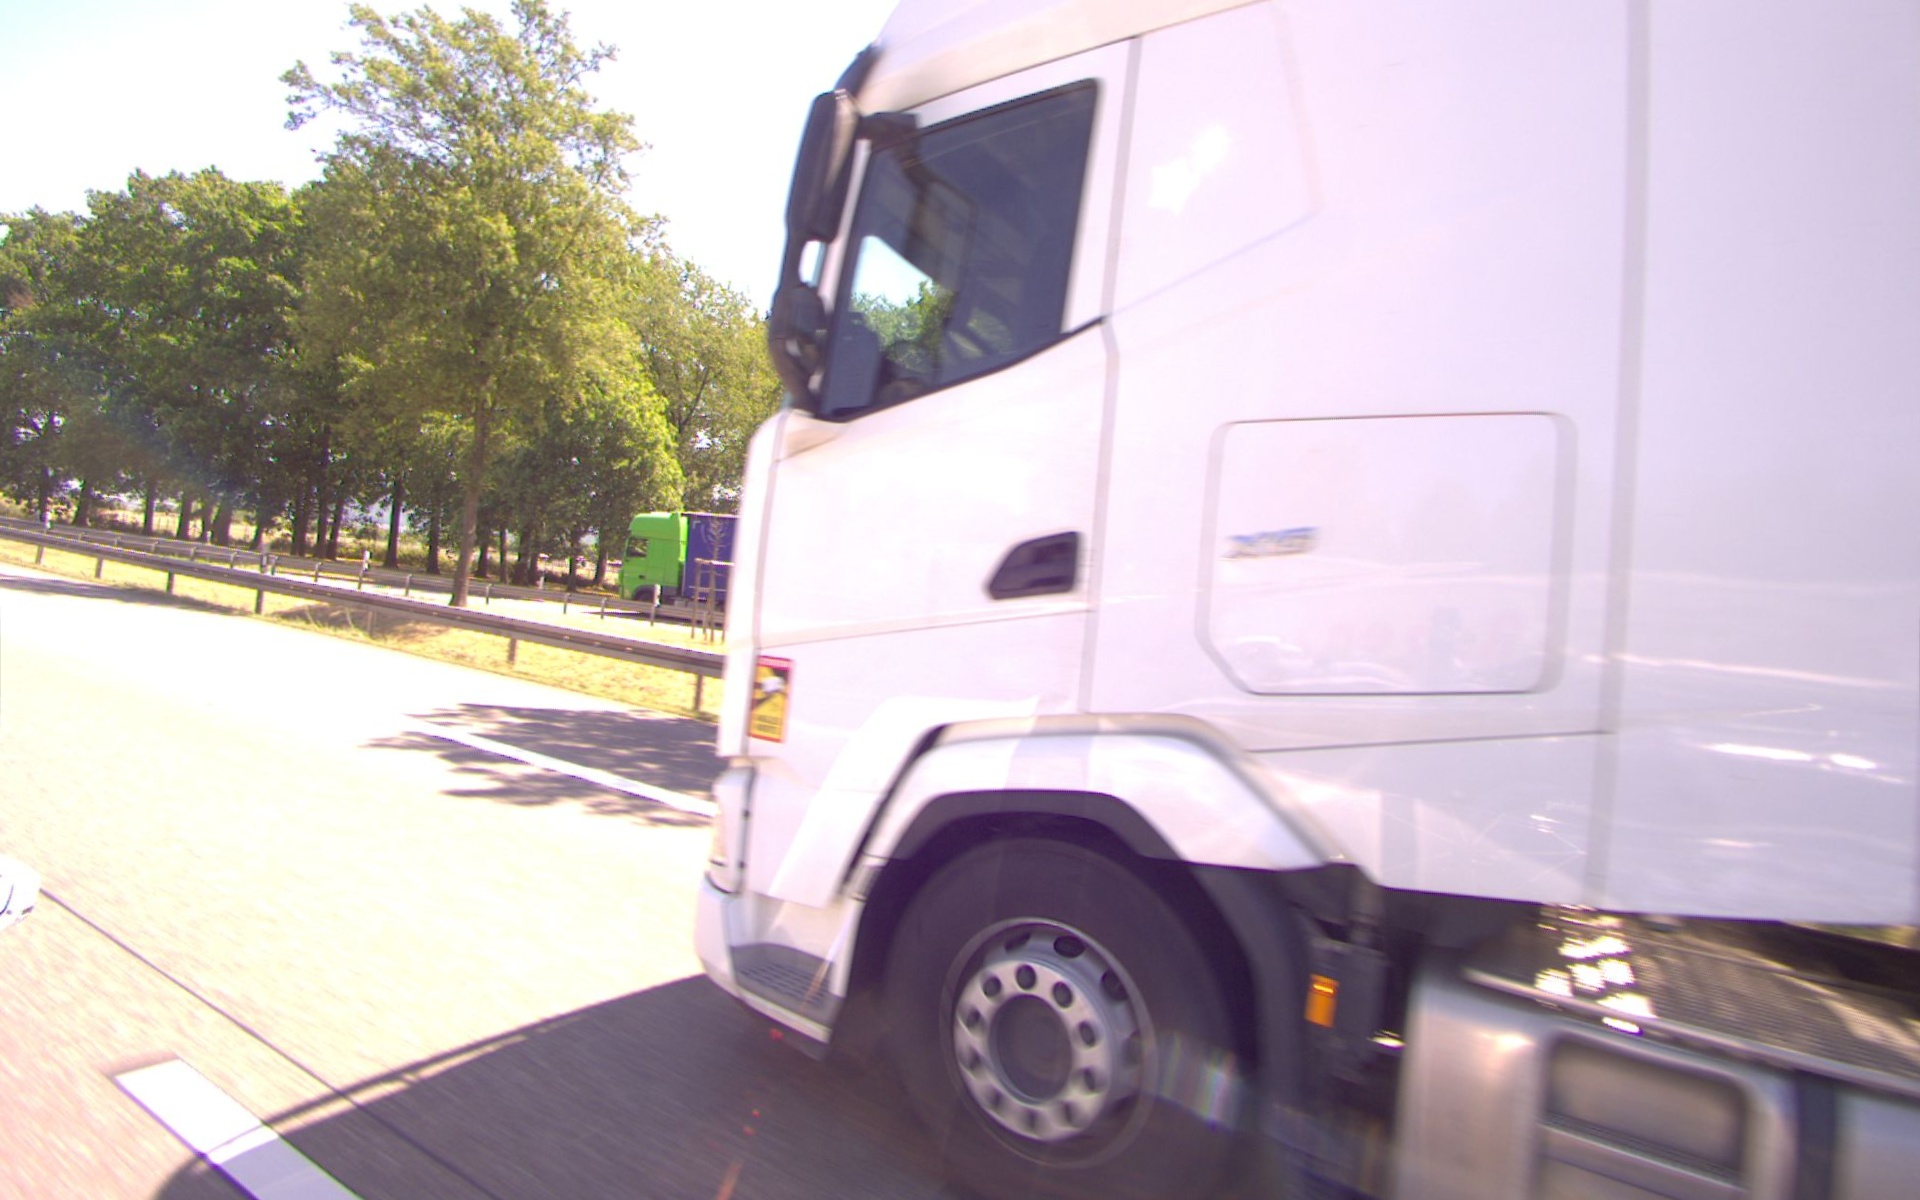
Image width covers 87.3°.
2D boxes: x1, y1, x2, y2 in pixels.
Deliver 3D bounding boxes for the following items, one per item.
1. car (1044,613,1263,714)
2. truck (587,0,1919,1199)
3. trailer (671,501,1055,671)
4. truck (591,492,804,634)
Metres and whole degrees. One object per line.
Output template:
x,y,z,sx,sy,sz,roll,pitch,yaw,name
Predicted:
4.594,1.445,24.014,4.598,1.733,1.996,6,1,28,car
2.752,-0.314,2.481,6.749,4.321,2.862,6,-2,31,truck
-3.521,-0.536,35.576,12.899,4.307,3.397,7,-1,19,trailer
-9.791,-1.344,37.766,6.493,4.307,3.397,7,-1,19,truck
